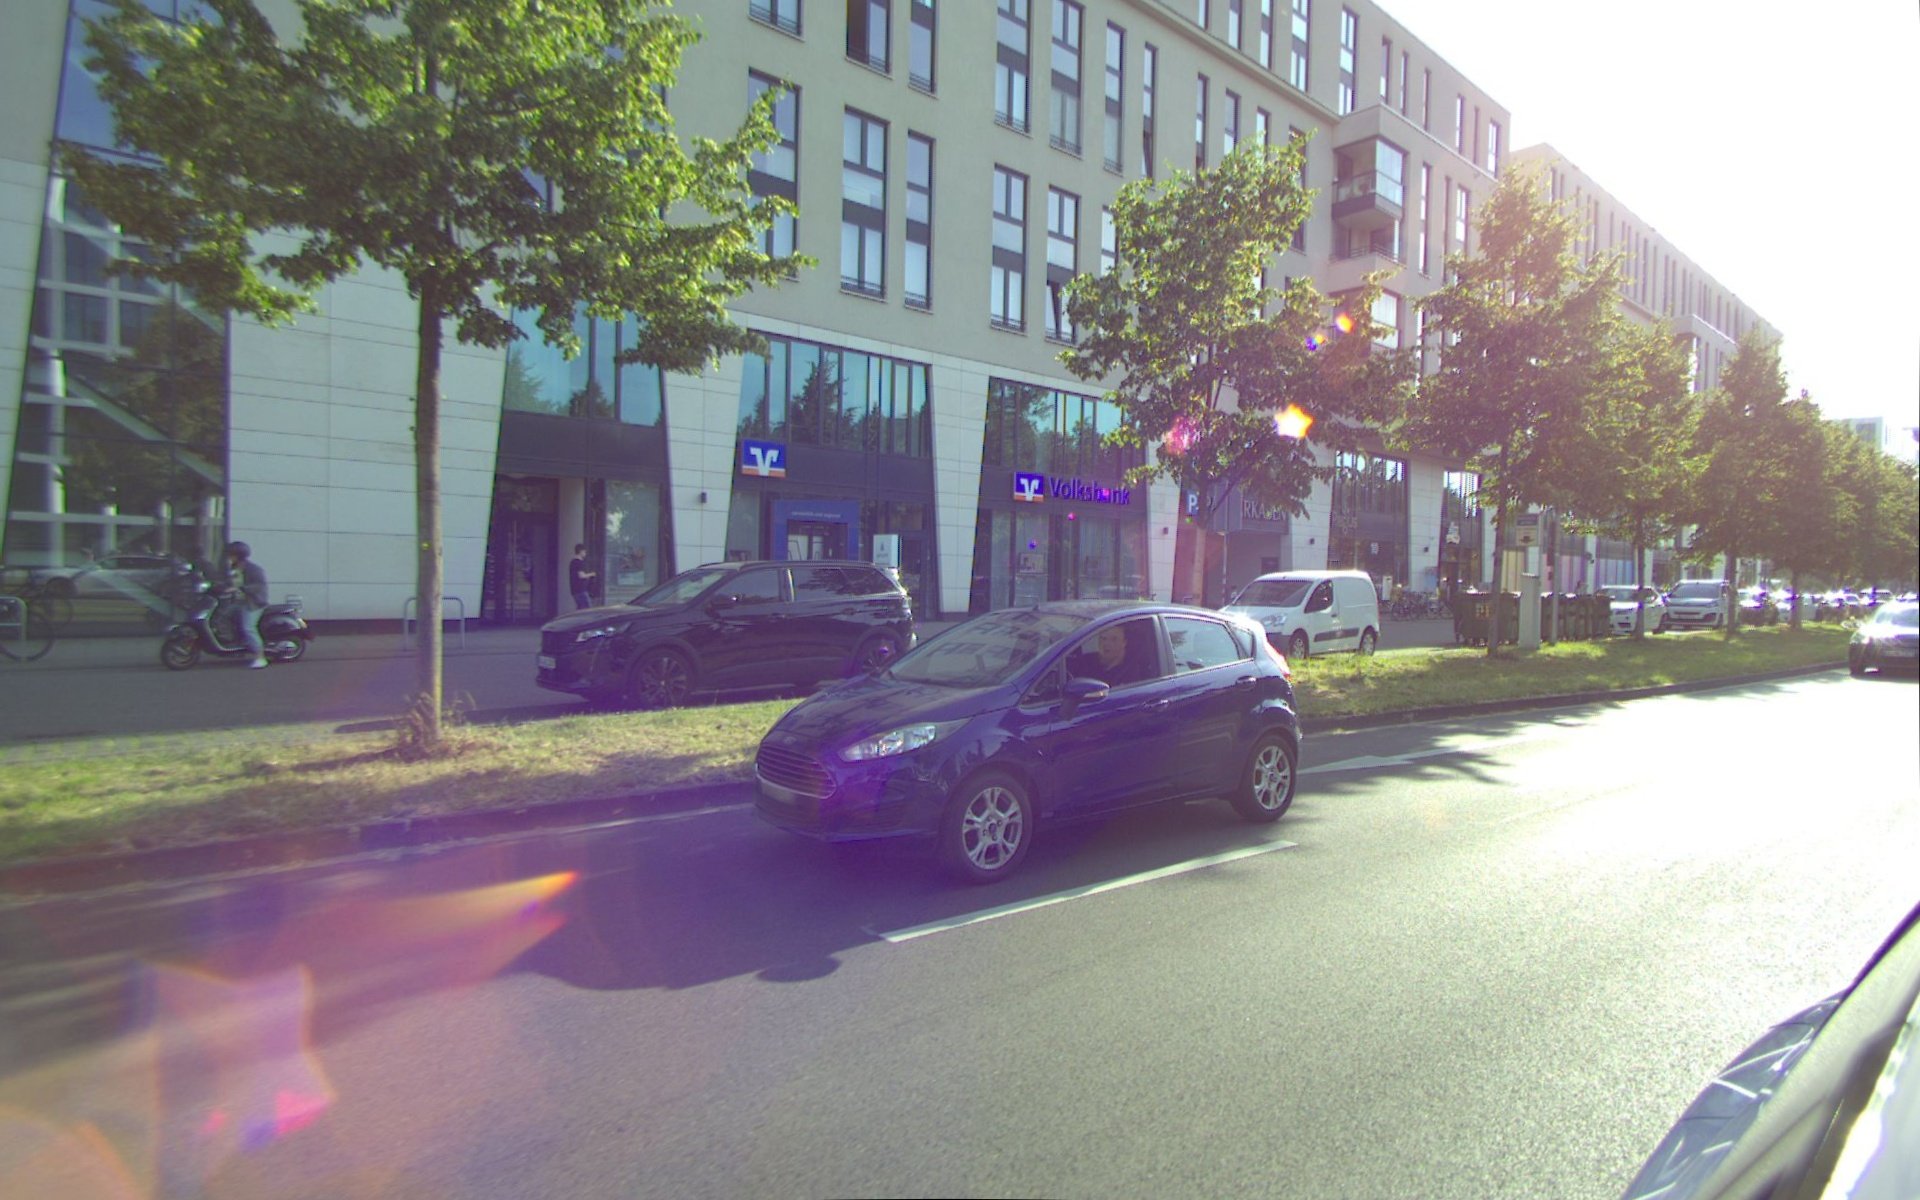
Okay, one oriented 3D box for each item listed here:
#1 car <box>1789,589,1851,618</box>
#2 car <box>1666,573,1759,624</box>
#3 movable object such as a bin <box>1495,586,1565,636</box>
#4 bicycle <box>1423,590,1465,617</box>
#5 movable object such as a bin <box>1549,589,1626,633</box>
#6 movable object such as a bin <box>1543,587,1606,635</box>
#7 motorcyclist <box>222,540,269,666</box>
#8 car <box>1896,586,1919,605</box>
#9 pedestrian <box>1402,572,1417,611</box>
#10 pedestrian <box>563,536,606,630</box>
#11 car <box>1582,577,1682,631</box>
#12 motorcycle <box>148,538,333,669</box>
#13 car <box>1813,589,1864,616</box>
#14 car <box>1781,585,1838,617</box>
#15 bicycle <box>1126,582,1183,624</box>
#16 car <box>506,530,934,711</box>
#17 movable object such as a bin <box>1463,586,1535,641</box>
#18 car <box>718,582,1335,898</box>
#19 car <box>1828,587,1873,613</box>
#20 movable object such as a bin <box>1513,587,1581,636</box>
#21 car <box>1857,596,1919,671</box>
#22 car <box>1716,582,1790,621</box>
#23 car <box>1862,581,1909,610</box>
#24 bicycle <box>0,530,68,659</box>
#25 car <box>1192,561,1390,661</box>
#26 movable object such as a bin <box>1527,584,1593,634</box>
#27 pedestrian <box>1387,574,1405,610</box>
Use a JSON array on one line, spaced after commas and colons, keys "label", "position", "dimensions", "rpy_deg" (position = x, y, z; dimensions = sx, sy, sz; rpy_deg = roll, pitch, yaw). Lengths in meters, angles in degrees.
[{"label": "car", "position": [46.028, 0.167, 54.123], "dimensions": [4.637, 1.450, 1.732], "rpy_deg": [-1, 1, -40]}, {"label": "car", "position": [29.842, -0.093, 40.082], "dimensions": [4.942, 1.899, 1.841], "rpy_deg": [-1, 1, -40]}, {"label": "movable object such as a bin", "position": [14.574, 0.262, 25.863], "dimensions": [1.172, 1.252, 1.278], "rpy_deg": [-1, 0, -44]}, {"label": "bicycle", "position": [19.563, 0.125, 40.917], "dimensions": [1.485, 1.088, 0.348], "rpy_deg": [0, 0, 2]}, {"label": "movable object such as a bin", "position": [18.466, 0.313, 29.812], "dimensions": [1.307, 1.252, 1.406], "rpy_deg": [0, 0, -13]}, {"label": "movable object such as a bin", "position": [17.430, 0.291, 28.701], "dimensions": [1.172, 1.318, 1.278], "rpy_deg": [-1, 0, -44]}, {"label": "motorcyclist", "position": [-9.735, 0.027, 13.781], "dimensions": [0.411, 1.660, 0.624], "rpy_deg": [0, 3, -44]}, {"label": "car", "position": [76.620, -0.358, 80.960], "dimensions": [4.829, 1.507, 1.765], "rpy_deg": [-1, 1, -38]}, {"label": "pedestrian", "position": [18.871, -0.358, 42.495], "dimensions": [0.511, 1.594, 0.534], "rpy_deg": [0, 0, 30]}, {"label": "pedestrian", "position": [-7.330, -0.326, 19.732], "dimensions": [0.635, 1.785, 0.538], "rpy_deg": [0, 0, -40]}, {"label": "car", "position": [22.341, 0.091, 33.575], "dimensions": [4.769, 1.650, 1.732], "rpy_deg": [0, 2, -43]}, {"label": "motorcycle", "position": [-9.773, 0.011, 13.793], "dimensions": [1.978, 1.636, 0.702], "rpy_deg": [-1, 6, -43]}, {"label": "car", "position": [51.140, 0.130, 58.890], "dimensions": [4.043, 1.450, 1.731], "rpy_deg": [-1, 1, -42]}, {"label": "car", "position": [40.117, 0.031, 47.750], "dimensions": [4.098, 1.430, 1.617], "rpy_deg": [-1, 1, -43]}, {"label": "bicycle", "position": [5.477, 0.069, 28.427], "dimensions": [1.911, 1.130, 0.493], "rpy_deg": [-1, 2, -41]}, {"label": "car", "position": [-2.657, 0.206, 11.957], "dimensions": [4.598, 1.730, 1.899], "rpy_deg": [0, 0, -42]}, {"label": "movable object such as a bin", "position": [13.463, 0.318, 25.287], "dimensions": [1.159, 1.307, 1.278], "rpy_deg": [-1, 0, -44]}, {"label": "car", "position": [0.585, 0.642, 6.419], "dimensions": [3.835, 1.442, 1.564], "rpy_deg": [0, 0, -37]}, {"label": "car", "position": [55.362, -0.031, 62.888], "dimensions": [1.868, 1.510, 4.344], "rpy_deg": [0, 1, 45]}, {"label": "movable object such as a bin", "position": [15.484, 0.282, 26.702], "dimensions": [1.172, 1.252, 1.278], "rpy_deg": [-1, 0, -44]}, {"label": "car", "position": [20.513, 0.652, 21.349], "dimensions": [3.965, 1.442, 1.698], "rpy_deg": [-1, 1, -38]}, {"label": "car", "position": [34.874, 0.034, 44.482], "dimensions": [4.263, 1.671, 1.732], "rpy_deg": [-1, 1, -40]}, {"label": "car", "position": [64.070, -0.323, 70.044], "dimensions": [4.761, 1.898, 1.897], "rpy_deg": [-1, 1, -41]}, {"label": "bicycle", "position": [-12.706, -0.062, 12.739], "dimensions": [2.174, 1.639, 0.556], "rpy_deg": [-1, 1, -40]}, {"label": "car", "position": [6.535, 0.161, 19.773], "dimensions": [4.223, 1.733, 1.829], "rpy_deg": [-1, 1, -42]}, {"label": "movable object such as a bin", "position": [16.470, 0.232, 27.788], "dimensions": [1.172, 1.334, 1.278], "rpy_deg": [-1, 0, -44]}, {"label": "pedestrian", "position": [18.494, -0.343, 42.937], "dimensions": [0.587, 1.541, 0.514], "rpy_deg": [0, 0, -41]}]
